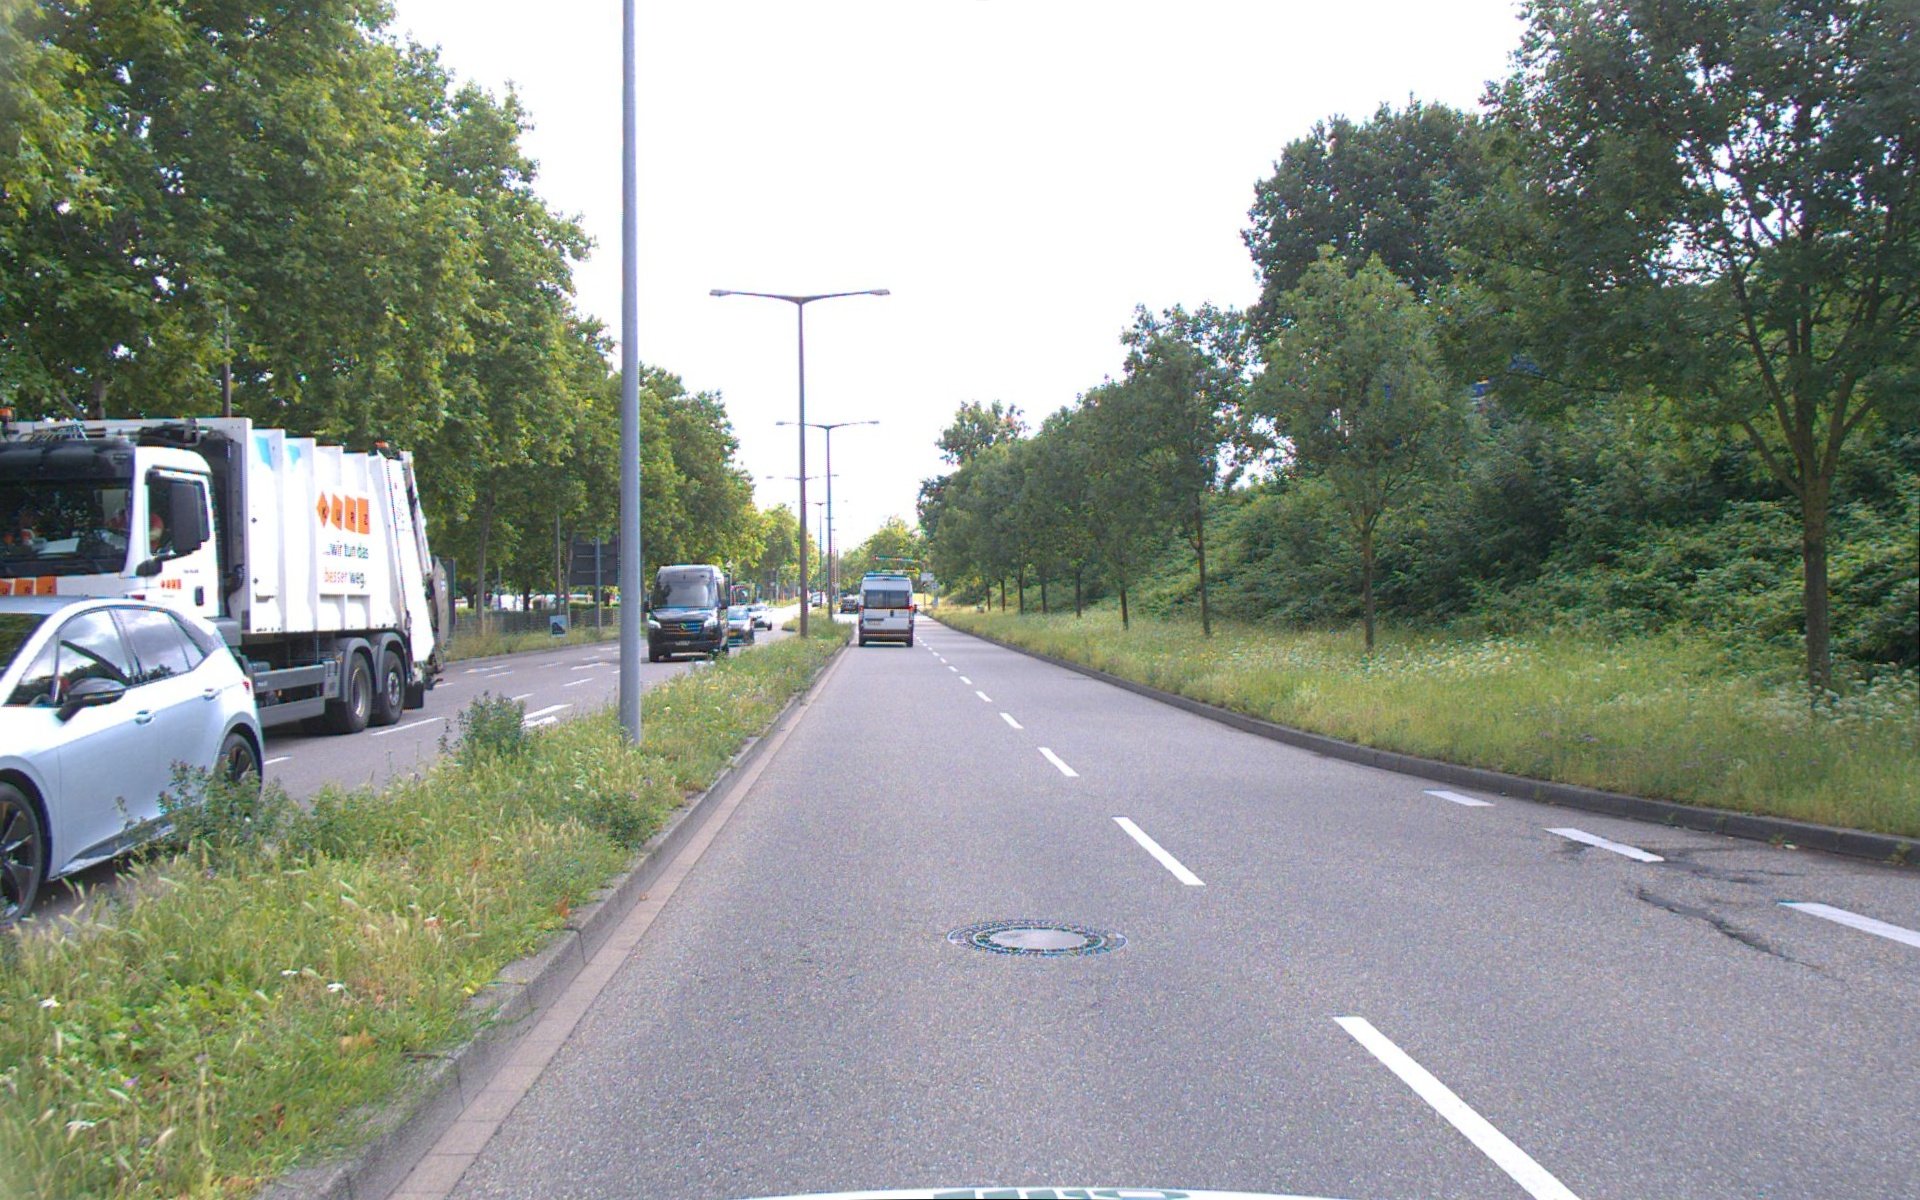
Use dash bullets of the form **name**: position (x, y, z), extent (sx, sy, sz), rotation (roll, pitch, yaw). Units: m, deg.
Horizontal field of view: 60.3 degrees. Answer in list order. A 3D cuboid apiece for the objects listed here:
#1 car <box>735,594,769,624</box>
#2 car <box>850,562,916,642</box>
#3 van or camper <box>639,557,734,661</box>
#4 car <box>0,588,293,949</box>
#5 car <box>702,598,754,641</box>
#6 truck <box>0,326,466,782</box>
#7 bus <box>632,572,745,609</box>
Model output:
- **car**: position (-12.440, 0.495, 98.971), extent (1.778, 1.668, 4.347), rotation (-2, 1, -5)
- **car**: position (-2.916, 0.012, 61.584), extent (2.155, 2.773, 4.926), rotation (1, 2, -6)
- **van or camper**: position (-7.685, 0.213, 47.068), extent (2.063, 2.706, 6.711), rotation (-1, 0, -5)
- **car**: position (-5.142, 0.770, 8.633), extent (1.709, 1.580, 4.231), rotation (-2, 0, -3)
- **car**: position (-8.545, 0.711, 61.155), extent (1.661, 1.489, 3.937), rotation (-1, 0, -5)
- **truck**: position (-8.575, -0.398, 19.563), extent (2.597, 3.955, 10.156), rotation (-2, 0, -2)
- **bus**: position (-27.053, -0.901, 164.341), extent (12.075, 3.332, 3.112), rotation (-2, 0, 32)
